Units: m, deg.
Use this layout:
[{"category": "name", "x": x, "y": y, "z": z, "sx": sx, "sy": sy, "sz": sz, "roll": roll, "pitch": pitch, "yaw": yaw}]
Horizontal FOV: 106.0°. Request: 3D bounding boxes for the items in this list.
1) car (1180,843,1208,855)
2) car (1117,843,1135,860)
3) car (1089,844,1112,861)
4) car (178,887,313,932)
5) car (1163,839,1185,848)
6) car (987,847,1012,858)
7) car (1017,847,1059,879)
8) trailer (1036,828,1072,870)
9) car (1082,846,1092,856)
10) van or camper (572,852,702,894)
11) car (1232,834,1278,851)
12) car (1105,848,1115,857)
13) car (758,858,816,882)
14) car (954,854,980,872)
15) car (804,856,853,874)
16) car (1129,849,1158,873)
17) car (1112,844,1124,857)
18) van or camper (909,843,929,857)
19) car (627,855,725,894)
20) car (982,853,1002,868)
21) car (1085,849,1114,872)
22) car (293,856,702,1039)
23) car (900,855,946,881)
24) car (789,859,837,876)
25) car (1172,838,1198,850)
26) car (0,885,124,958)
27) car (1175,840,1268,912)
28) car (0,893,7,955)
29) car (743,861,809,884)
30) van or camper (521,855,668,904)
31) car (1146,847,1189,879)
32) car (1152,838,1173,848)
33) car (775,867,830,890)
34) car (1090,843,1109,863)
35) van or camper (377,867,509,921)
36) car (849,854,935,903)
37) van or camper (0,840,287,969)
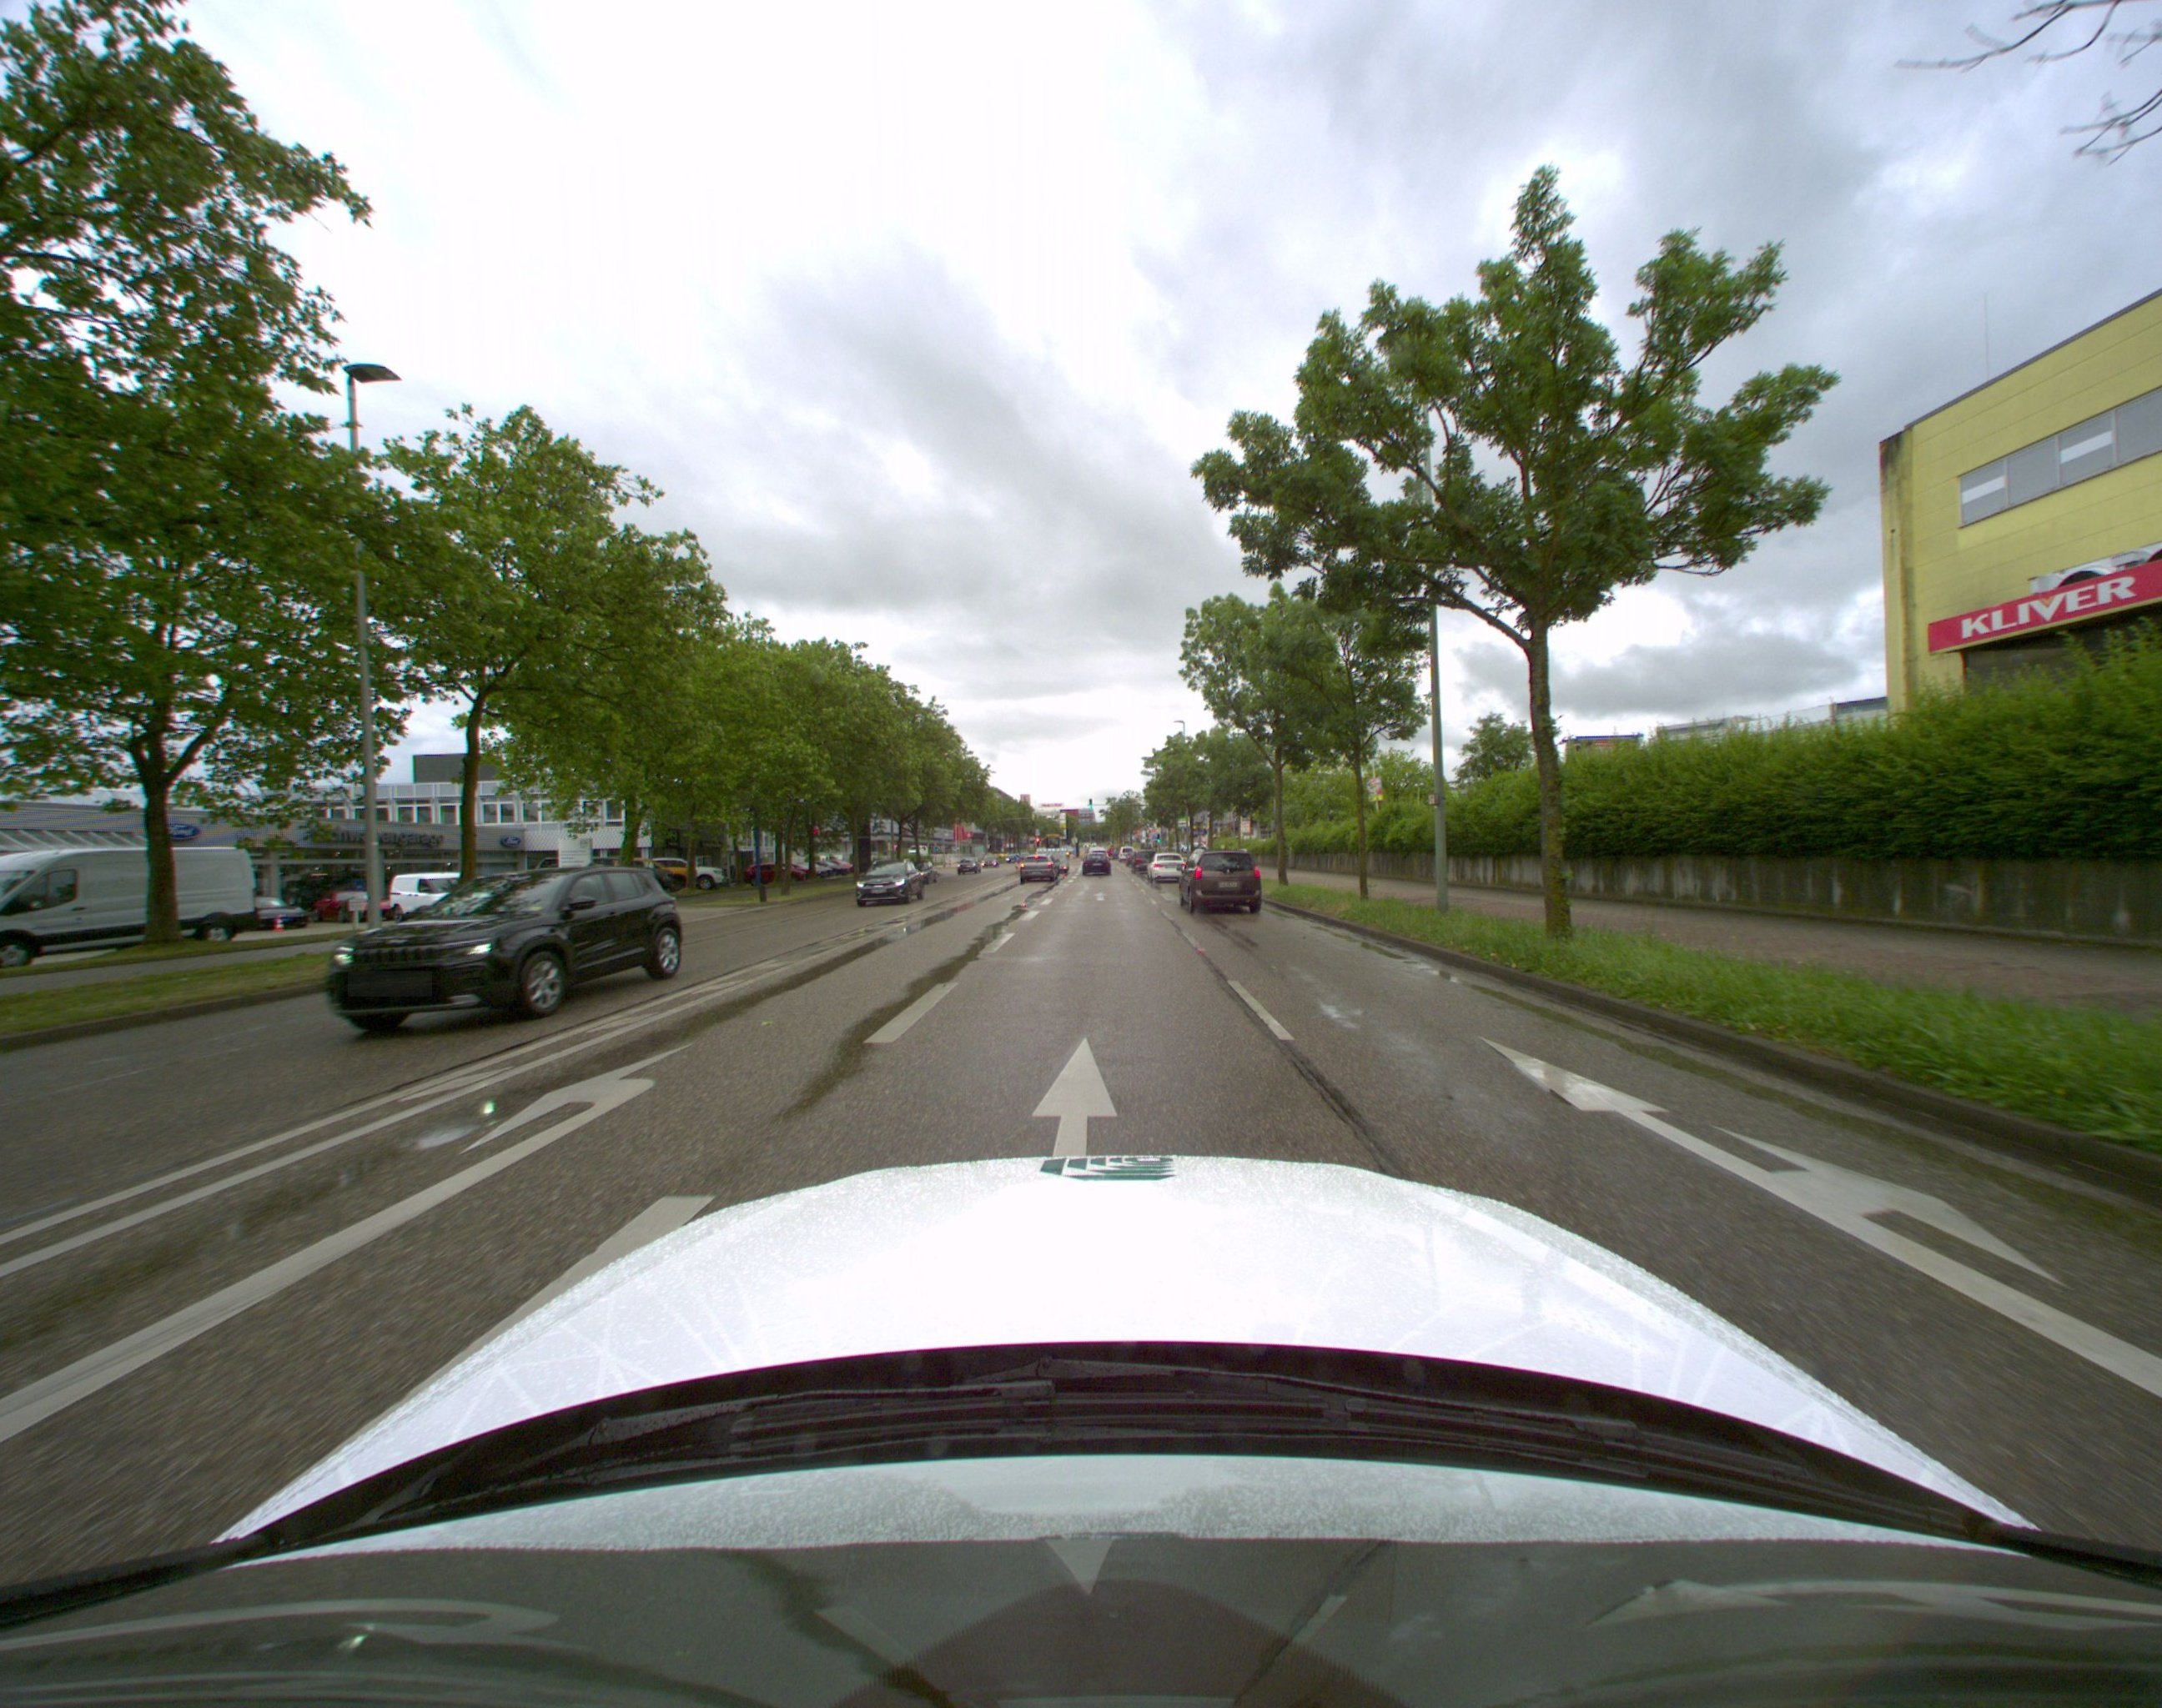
[{"category": "car", "x": 16.620, "y": -0.710, "z": 120.027, "sx": 1.908, "sy": 1.576, "sz": 4.315, "roll": -2, "pitch": 1, "yaw": 42}, {"category": "car", "x": 5.214, "y": -0.339, "z": 94.736, "sx": 1.776, "sy": 1.866, "sz": 4.000, "roll": -3, "pitch": 0, "yaw": 0}, {"category": "car", "x": 1.695, "y": -0.161, "z": 70.248, "sx": 1.678, "sy": 1.377, "sz": 3.996, "roll": -2, "pitch": 1, "yaw": -2}, {"category": "car", "x": -30.457, "y": 2.015, "z": 29.702, "sx": 3.867, "sy": 1.467, "sz": 1.605, "roll": -2, "pitch": 0, "yaw": 13}, {"category": "car", "x": 16.668, "y": -1.863, "z": 146.035, "sx": 3.617, "sy": 1.536, "sz": 1.776, "roll": -4, "pitch": 1, "yaw": -39}, {"category": "car", "x": -13.967, "y": -0.242, "z": 139.653, "sx": 3.948, "sy": 1.552, "sz": 1.912, "roll": -2, "pitch": 1, "yaw": 35}, {"category": "car", "x": -2.343, "y": 0.456, "z": 45.383, "sx": 1.900, "sy": 1.578, "sz": 4.882, "roll": -3, "pitch": 0, "yaw": 1}, {"category": "trailer", "x": -1.962, "y": -0.350, "z": 60.481, "sx": 2.365, "sy": 2.897, "sz": 5.545, "roll": -2, "pitch": 0, "yaw": 0}, {"category": "car", "x": 1.357, "y": -0.650, "z": 176.029, "sx": 1.986, "sy": 2.014, "sz": 4.001, "roll": 0, "pitch": 0, "yaw": 2}, {"category": "van or camper", "x": -21.871, "y": 0.927, "z": 40.420, "sx": 5.379, "sy": 1.770, "sz": 2.089, "roll": -2, "pitch": -3, "yaw": -22}, {"category": "car", "x": 16.374, "y": -1.052, "z": 76.725, "sx": 3.970, "sy": 1.442, "sz": 1.657, "roll": -2, "pitch": 1, "yaw": 3}, {"category": "car", "x": 5.020, "y": -0.268, "z": 140.329, "sx": 1.689, "sy": 1.443, "sz": 3.991, "roll": -2, "pitch": 0, "yaw": 2}, {"category": "car", "x": -23.553, "y": 1.274, "z": 65.253, "sx": 4.236, "sy": 1.653, "sz": 1.997, "roll": -3, "pitch": 0, "yaw": -23}, {"category": "car", "x": -10.028, "y": 0.798, "z": 71.778, "sx": 1.704, "sy": 1.465, "sz": 4.084, "roll": -3, "pitch": 0, "yaw": 0}, {"category": "car", "x": -23.528, "y": 0.997, "z": 76.056, "sx": 3.971, "sy": 1.489, "sz": 1.876, "roll": -2, "pitch": 1, "yaw": -4}, {"category": "car", "x": 4.273, "y": 0.439, "z": 56.105, "sx": 1.794, "sy": 1.587, "sz": 4.452, "roll": 0, "pitch": 1, "yaw": 2}, {"category": "car", "x": 5.154, "y": -0.473, "z": 114.430, "sx": 1.678, "sy": 1.684, "sz": 3.404, "roll": 0, "pitch": 0, "yaw": 2}, {"category": "van or camper", "x": -23.472, "y": -0.612, "z": 118.118, "sx": 1.987, "sy": 1.967, "sz": 4.789, "roll": 0, "pitch": 0, "yaw": 1}, {"category": "car", "x": -21.555, "y": 1.048, "z": 43.579, "sx": 4.471, "sy": 1.815, "sz": 1.985, "roll": -2, "pitch": 0, "yaw": -22}, {"category": "car", "x": -10.082, "y": 0.721, "z": 92.491, "sx": 1.704, "sy": 1.465, "sz": 4.084, "roll": -3, "pitch": 0, "yaw": 0}, {"category": "car", "x": 1.205, "y": 0.389, "z": 53.737, "sx": 1.775, "sy": 1.398, "sz": 4.000, "roll": -1, "pitch": 0, "yaw": 0}, {"category": "car", "x": -6.253, "y": 0.865, "z": 9.393, "sx": 1.756, "sy": 1.531, "sz": 3.859, "roll": -4, "pitch": 0, "yaw": 2}, {"category": "car", "x": -9.722, "y": 0.806, "z": 50.294, "sx": 1.730, "sy": 1.429, "sz": 4.540, "roll": -3, "pitch": 0, "yaw": 2}, {"category": "car", "x": -24.004, "y": 1.197, "z": 73.084, "sx": 3.733, "sy": 1.391, "sz": 1.688, "roll": -2, "pitch": 1, "yaw": -4}, {"category": "car", "x": 16.953, "y": -1.635, "z": 132.583, "sx": 4.048, "sy": 1.662, "sz": 1.960, "roll": -5, "pitch": 2, "yaw": -39}, {"category": "car", "x": -29.003, "y": 1.846, "z": 22.471, "sx": 3.956, "sy": 1.766, "sz": 1.873, "roll": -2, "pitch": 0, "yaw": 17}, {"category": "car", "x": 3.576, "y": 0.499, "z": 21.427, "sx": 1.720, "sy": 1.624, "sz": 4.472, "roll": -2, "pitch": 0, "yaw": 1}, {"category": "car", "x": -28.942, "y": 1.812, "z": 19.897, "sx": 3.957, "sy": 1.520, "sz": 1.873, "roll": -2, "pitch": 0, "yaw": 15}, {"category": "car", "x": -23.179, "y": 1.366, "z": 61.985, "sx": 4.572, "sy": 1.596, "sz": 1.986, "roll": -1, "pitch": 0, "yaw": -22}, {"category": "van or camper", "x": -21.309, "y": 1.058, "z": 36.006, "sx": 5.308, "sy": 1.821, "sz": 2.248, "roll": -2, "pitch": 0, "yaw": -25}, {"category": "car", "x": 4.332, "y": 0.413, "z": 41.243, "sx": 1.794, "sy": 1.544, "sz": 4.622, "roll": 0, "pitch": 0, "yaw": 2}, {"category": "car", "x": 16.819, "y": -2.310, "z": 167.836, "sx": 4.094, "sy": 1.904, "sz": 1.801, "roll": -3, "pitch": 1, "yaw": 2}, {"category": "car", "x": -23.557, "y": 2.047, "z": 68.819, "sx": 4.236, "sy": 1.596, "sz": 1.985, "roll": -4, "pitch": 1, "yaw": -23}, {"category": "car", "x": 1.952, "y": -0.103, "z": 87.968, "sx": 1.986, "sy": 2.014, "sz": 4.001, "roll": 0, "pitch": 0, "yaw": 1}, {"category": "van or camper", "x": -23.182, "y": 1.437, "z": 29.561, "sx": 4.589, "sy": 1.784, "sz": 1.850, "roll": -2, "pitch": 0, "yaw": 25}, {"category": "car", "x": -6.472, "y": 0.803, "z": 28.324, "sx": 1.659, "sy": 1.462, "sz": 4.186, "roll": -3, "pitch": 0, "yaw": 4}, {"category": "van or camper", "x": -21.564, "y": 0.965, "z": 17.795, "sx": 1.986, "sy": 2.470, "sz": 6.404, "roll": -1, "pitch": 0, "yaw": 2}]
